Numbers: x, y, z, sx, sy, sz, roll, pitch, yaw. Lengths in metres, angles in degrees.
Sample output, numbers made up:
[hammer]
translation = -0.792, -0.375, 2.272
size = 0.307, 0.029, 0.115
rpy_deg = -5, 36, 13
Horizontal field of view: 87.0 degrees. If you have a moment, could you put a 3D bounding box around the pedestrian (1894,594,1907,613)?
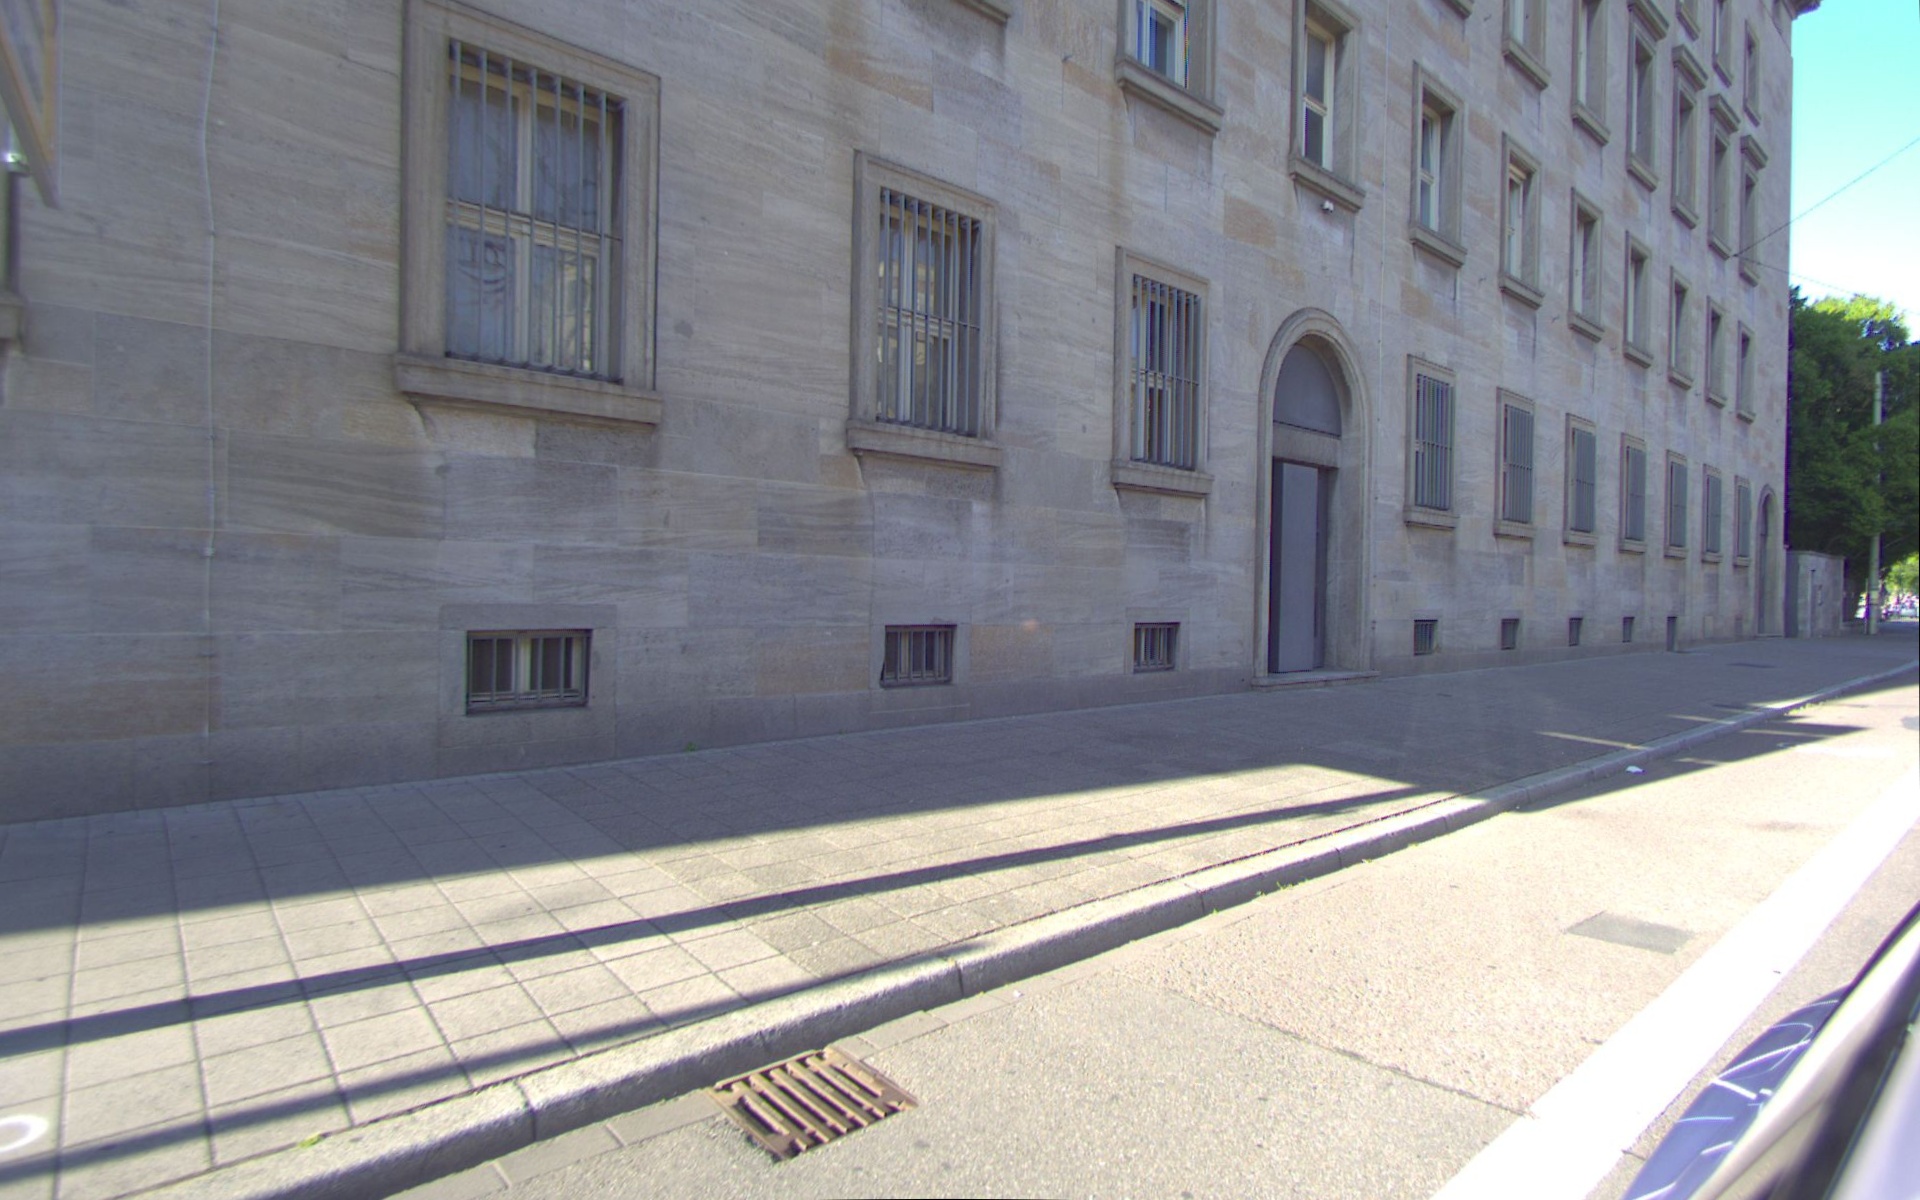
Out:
[pedestrian]
translation = 87.005, 0.328, 93.621
size = 0.791, 1.742, 0.870
rpy_deg = 1, 0, -44

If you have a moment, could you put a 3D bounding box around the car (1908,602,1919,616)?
[car]
translation = 115.123, 1.050, 120.959
size = 1.863, 1.621, 4.376
rpy_deg = 1, 1, 32
